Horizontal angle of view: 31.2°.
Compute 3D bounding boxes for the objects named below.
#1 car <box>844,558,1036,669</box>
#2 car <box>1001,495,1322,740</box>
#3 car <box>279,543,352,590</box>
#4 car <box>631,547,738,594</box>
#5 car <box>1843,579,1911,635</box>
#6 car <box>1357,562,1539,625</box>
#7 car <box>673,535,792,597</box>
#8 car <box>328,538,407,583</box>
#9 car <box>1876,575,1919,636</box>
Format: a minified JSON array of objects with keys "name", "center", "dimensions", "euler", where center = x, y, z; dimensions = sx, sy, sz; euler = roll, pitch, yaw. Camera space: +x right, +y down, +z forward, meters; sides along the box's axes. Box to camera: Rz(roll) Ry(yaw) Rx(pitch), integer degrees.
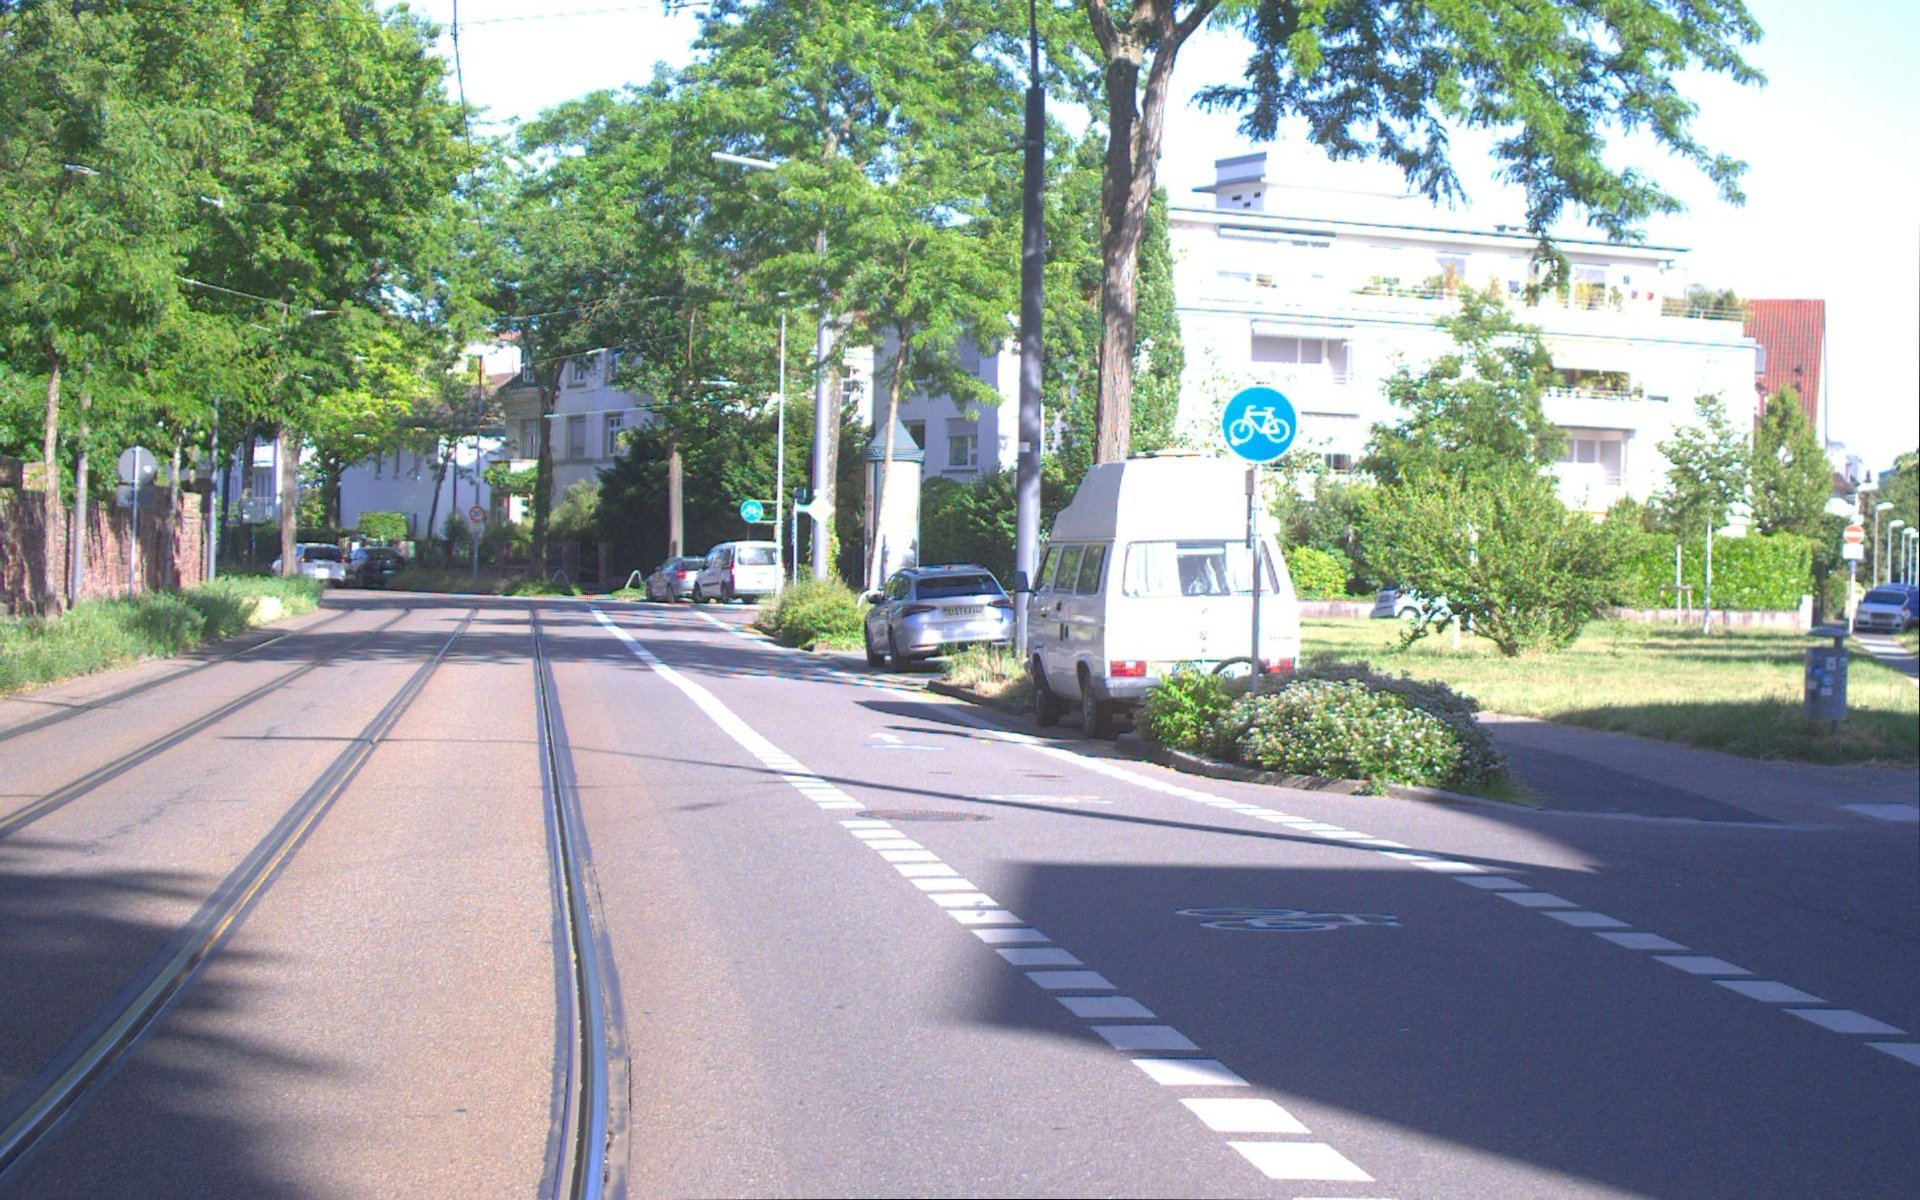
[{"name":"car","center":[-0.358,0.151,50.214],"dimensions":[2.000,1.460,5.434],"euler":[-2,1,-8]},{"name":"car","center":[1.772,0.111,32.007],"dimensions":[1.993,2.088,4.718],"euler":[1,1,-9]},{"name":"car","center":[-23.958,-1.225,127.724],"dimensions":[1.892,1.605,4.230],"euler":[1,-1,-21]},{"name":"car","center":[-8.507,-0.908,105.916],"dimensions":[1.993,1.418,4.333],"euler":[1,0,-23]},{"name":"car","center":[29.847,0.218,111.805],"dimensions":[2.047,1.702,4.285],"euler":[2,0,16]},{"name":"car","center":[12.622,-0.145,88.970],"dimensions":[4.279,1.505,1.840],"euler":[1,-2,-19]},{"name":"car","center":[-6.658,-1.009,100.196],"dimensions":[2.022,1.741,4.753],"euler":[1,1,-22]},{"name":"car","center":[-23.522,-1.574,136.369],"dimensions":[1.804,1.688,4.730],"euler":[-3,2,-26]},{"name":"car","center":[24.575,0.174,83.122],"dimensions":[2.057,1.466,4.757],"euler":[1,1,-26]}]
